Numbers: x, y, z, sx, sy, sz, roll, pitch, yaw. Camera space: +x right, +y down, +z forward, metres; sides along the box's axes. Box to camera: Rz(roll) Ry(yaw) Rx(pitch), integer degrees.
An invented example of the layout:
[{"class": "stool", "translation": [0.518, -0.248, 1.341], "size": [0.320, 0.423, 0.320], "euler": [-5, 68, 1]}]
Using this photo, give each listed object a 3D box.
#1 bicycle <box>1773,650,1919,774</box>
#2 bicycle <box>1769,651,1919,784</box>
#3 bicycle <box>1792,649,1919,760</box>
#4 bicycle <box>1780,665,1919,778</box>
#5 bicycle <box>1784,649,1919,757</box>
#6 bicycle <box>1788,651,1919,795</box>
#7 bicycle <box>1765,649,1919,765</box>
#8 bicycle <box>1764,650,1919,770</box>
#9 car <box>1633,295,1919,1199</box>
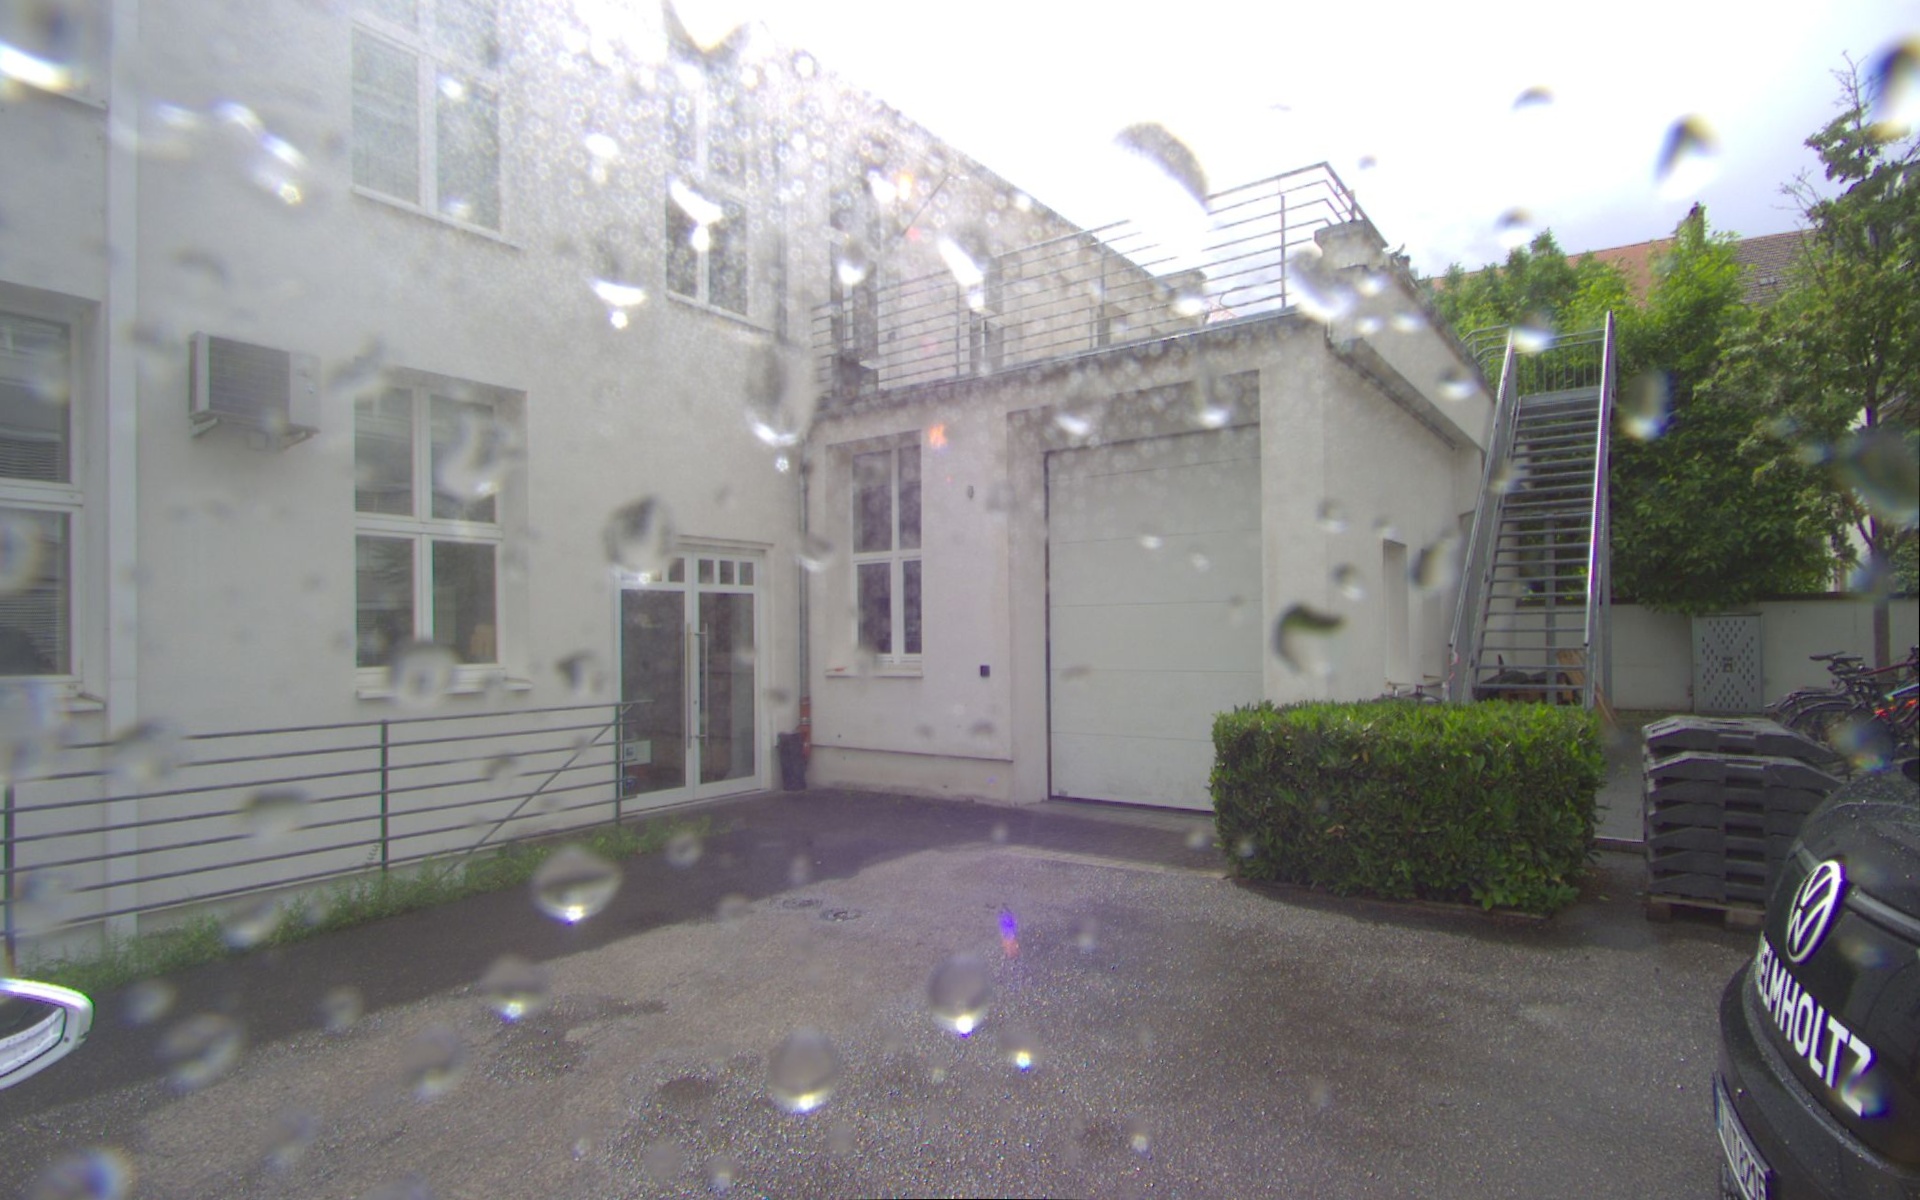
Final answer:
[{"class": "bicycle", "translation": [8.735, 1.033, 9.342], "size": [1.729, 1.118, 0.331], "euler": [-1, -1, 30]}, {"class": "bicycle", "translation": [8.199, 1.010, 8.715], "size": [1.774, 1.118, 0.352], "euler": [-2, -1, 38]}, {"class": "bicycle", "translation": [9.734, 1.068, 10.315], "size": [1.729, 1.118, 0.353], "euler": [-1, -1, 30]}, {"class": "bicycle", "translation": [8.579, 1.091, 9.037], "size": [1.770, 0.980, 0.328], "euler": [-1, -1, 30]}, {"class": "bicycle", "translation": [9.901, 1.080, 10.626], "size": [1.729, 1.118, 0.340], "euler": [-1, -1, 30]}, {"class": "bicycle", "translation": [7.801, 0.983, 8.013], "size": [1.774, 1.118, 0.402], "euler": [-2, -1, 38]}, {"class": "bicycle", "translation": [9.210, 1.058, 10.028], "size": [1.729, 1.118, 0.344], "euler": [-1, -1, 30]}, {"class": "bicycle", "translation": [8.893, 1.046, 9.654], "size": [1.729, 1.118, 0.341], "euler": [-1, -1, 30]}, {"class": "car", "translation": [3.503, 0.546, 0.807], "size": [4.677, 1.888, 1.963], "euler": [-3, -3, 29]}]
